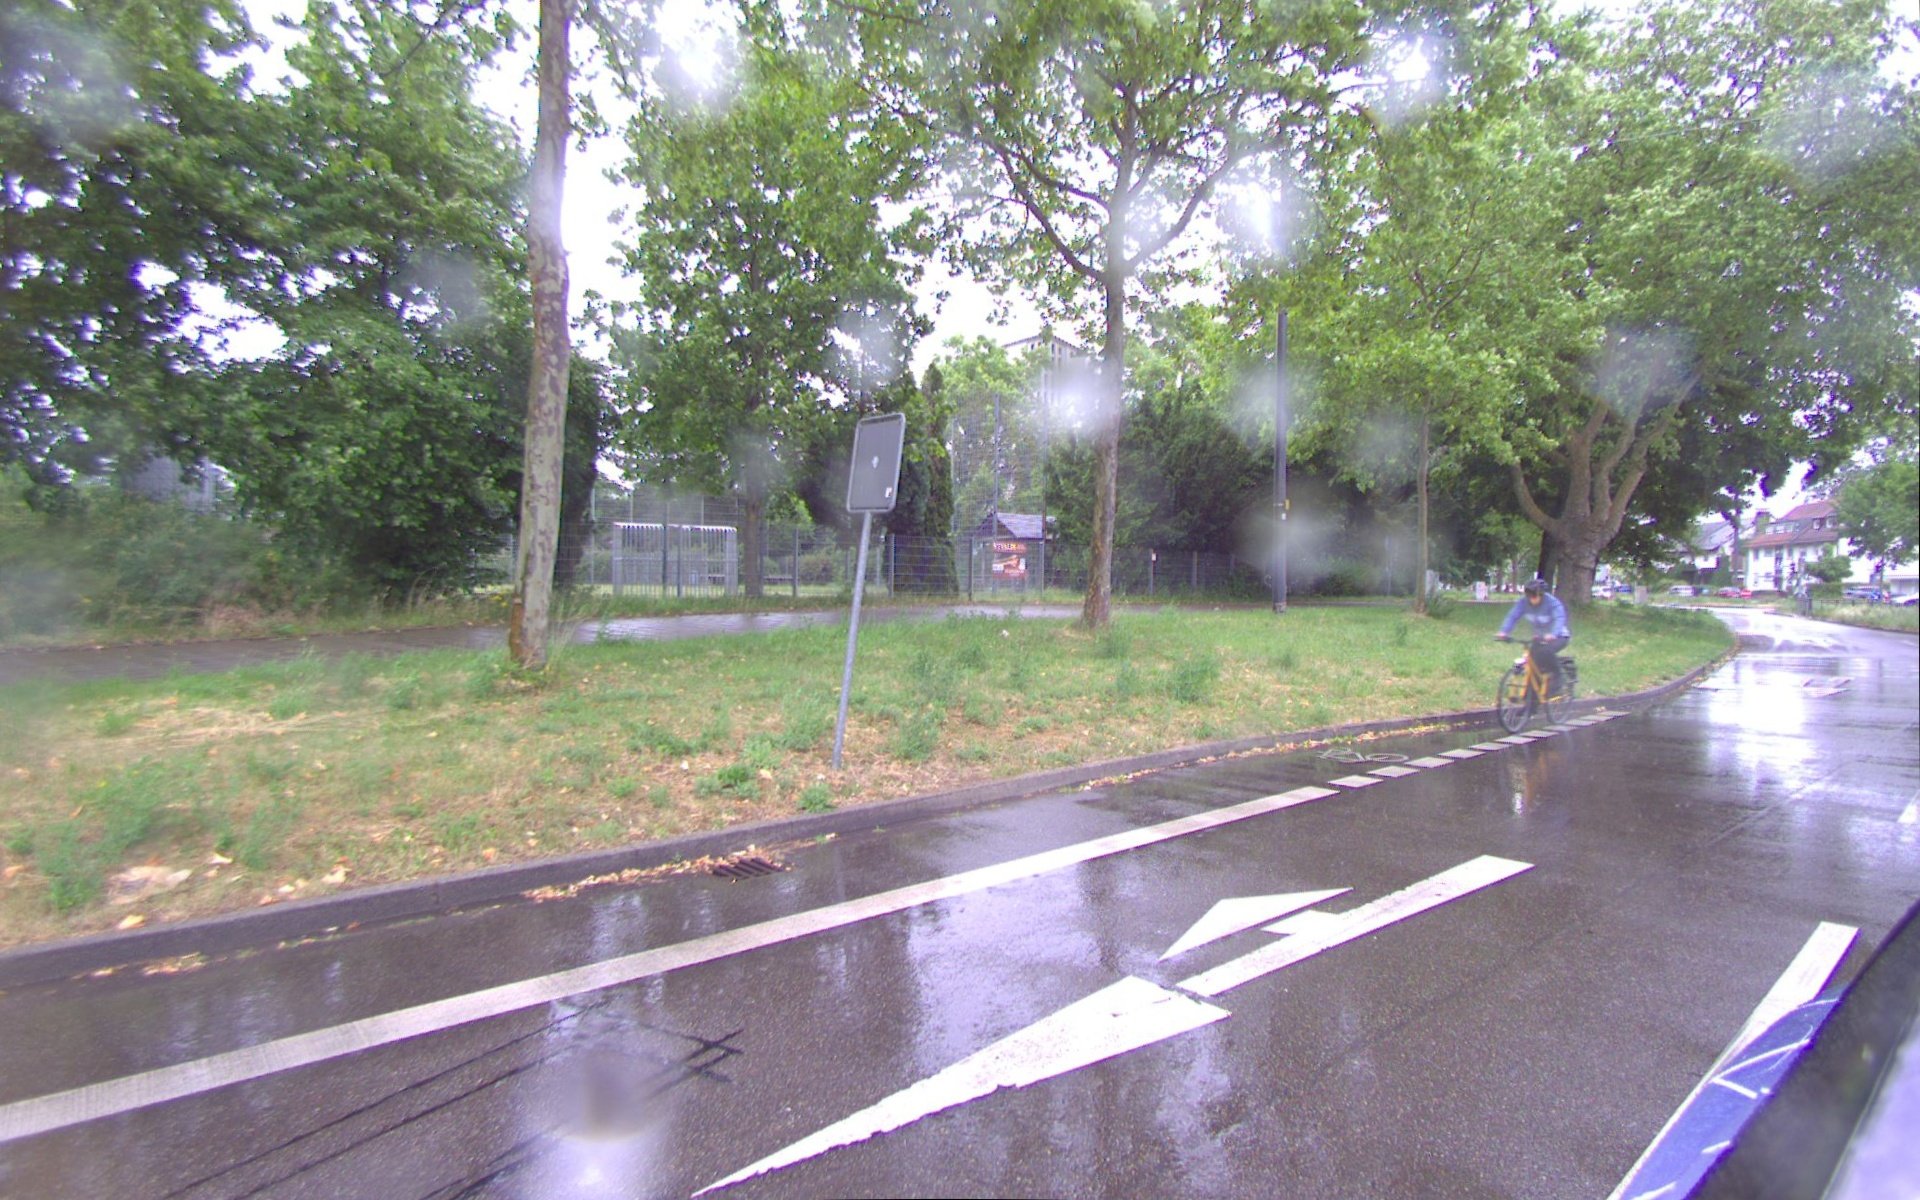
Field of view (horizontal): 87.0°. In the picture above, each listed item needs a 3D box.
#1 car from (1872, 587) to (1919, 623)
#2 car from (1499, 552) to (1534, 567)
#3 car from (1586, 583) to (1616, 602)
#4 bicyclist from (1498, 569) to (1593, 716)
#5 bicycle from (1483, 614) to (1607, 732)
[{"bbox_3d":[39.330,0.184,40.554,4.025,1.438,1.652,0,0,39],"label":"car"},{"bbox_3d":[73.666,-5.316,133.995,3.958,1.850,1.983,0,0,25],"label":"car"},{"bbox_3d":[58.923,-0.703,93.108,1.854,1.638,3.776,0,0,25],"label":"car"},{"bbox_3d":[6.410,0.431,11.075,0.830,1.525,0.691,-1,1,-44],"label":"bicyclist"},{"bbox_3d":[6.449,0.749,11.116,1.854,1.131,0.691,-1,1,-44],"label":"bicycle"}]
